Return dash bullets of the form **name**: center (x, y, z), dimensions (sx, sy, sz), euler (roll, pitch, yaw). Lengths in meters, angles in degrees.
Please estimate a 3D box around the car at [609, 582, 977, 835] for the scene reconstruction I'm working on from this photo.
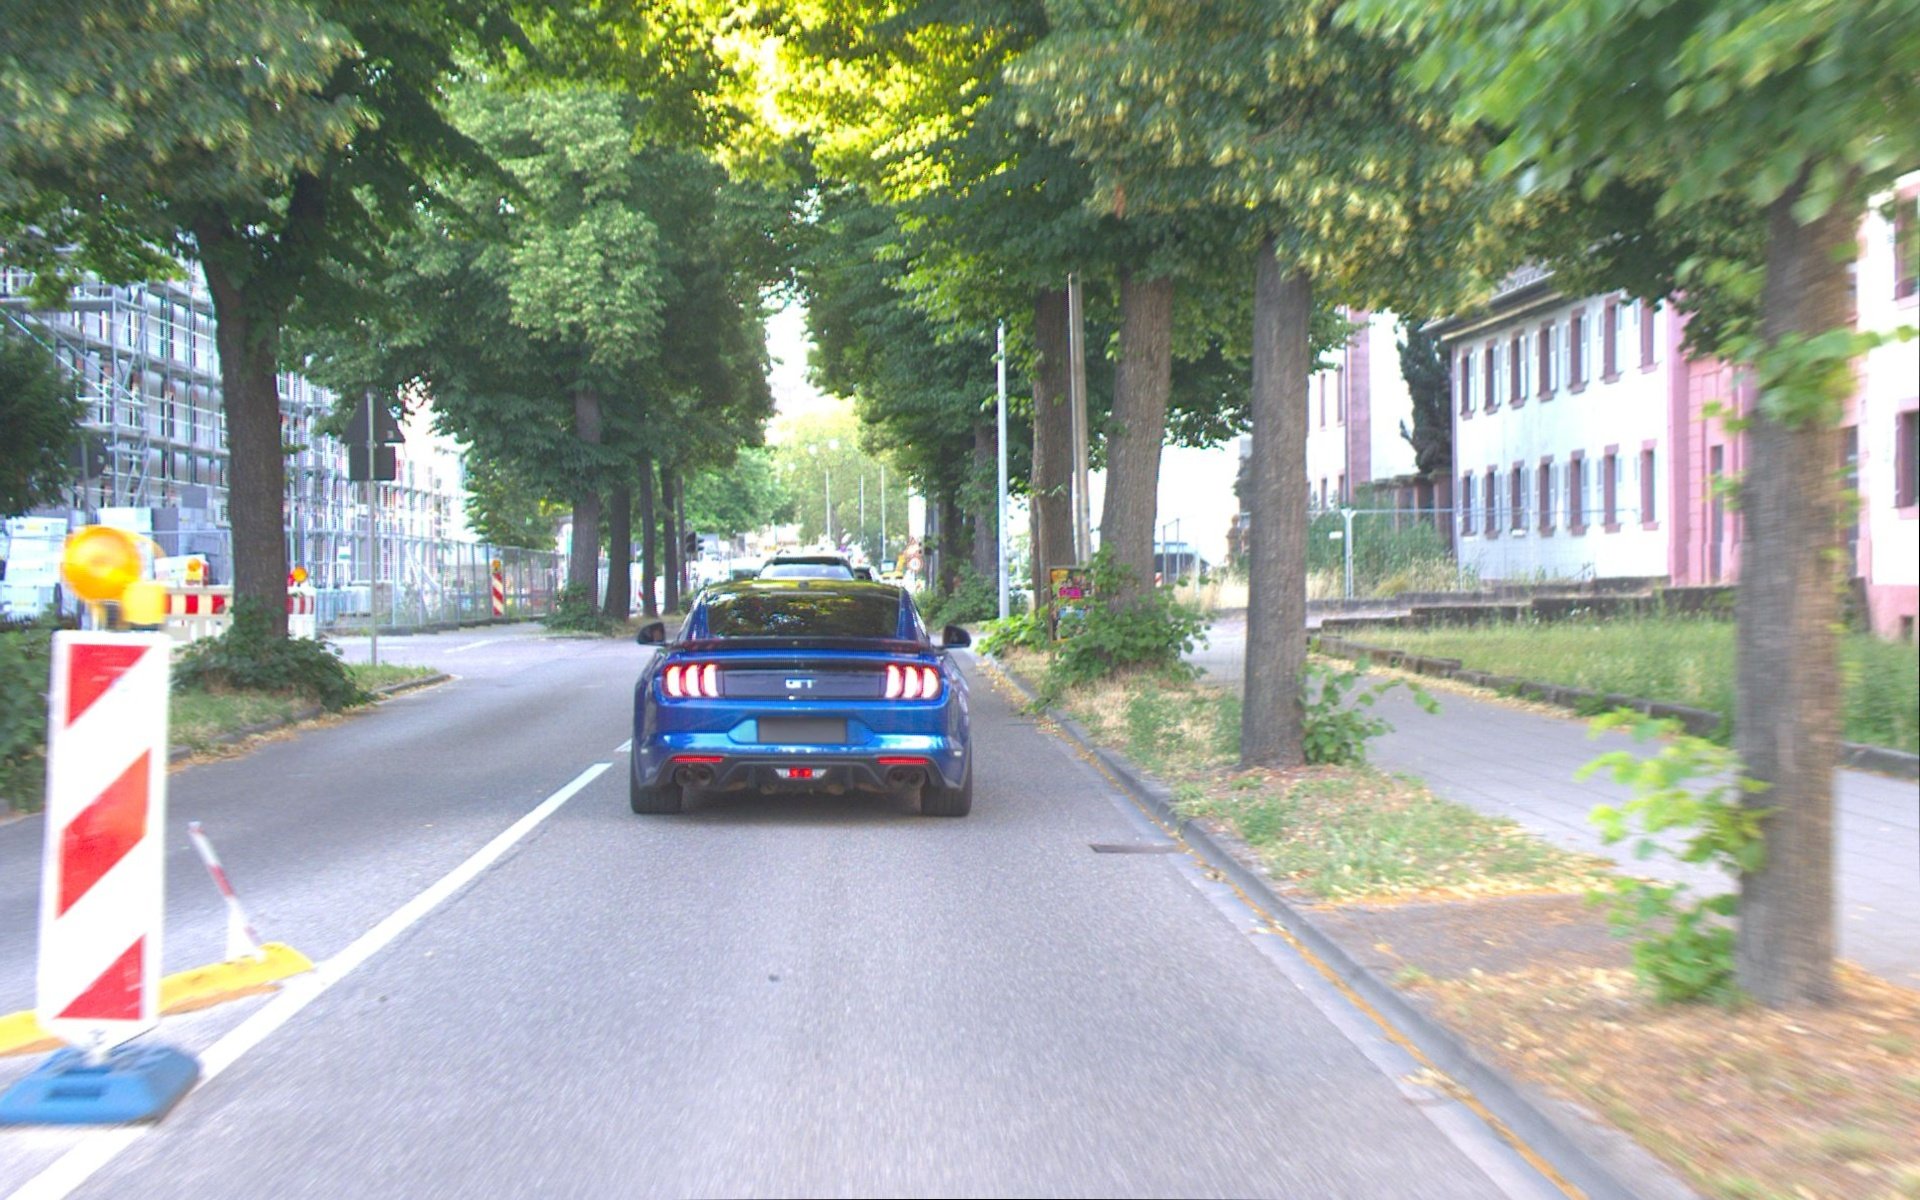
- **car**: center (-0.958, 0.578, 20.440), dimensions (1.947, 1.322, 4.000), euler (1, 0, -2)

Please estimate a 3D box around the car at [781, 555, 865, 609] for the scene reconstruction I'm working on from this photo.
- **car**: center (-3.462, -0.458, 87.678), dimensions (1.947, 1.322, 4.000), euler (1, 0, 0)

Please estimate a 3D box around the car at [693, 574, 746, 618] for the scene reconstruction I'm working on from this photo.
- **car**: center (-12.254, -0.212, 175.283), dimensions (2.336, 2.190, 5.309), euler (-1, 0, 0)

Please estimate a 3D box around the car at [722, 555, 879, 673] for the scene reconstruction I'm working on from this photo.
- **car**: center (-2.169, 0.181, 47.651), dimensions (1.947, 1.522, 4.000), euler (1, 0, 0)

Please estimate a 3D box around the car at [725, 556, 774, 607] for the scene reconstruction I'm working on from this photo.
- **car**: center (-11.411, -0.997, 186.554), dimensions (2.492, 2.688, 5.831), euler (-1, 0, -2)

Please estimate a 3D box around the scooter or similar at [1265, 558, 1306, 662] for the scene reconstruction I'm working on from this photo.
- **scooter or similar**: center (4.047, 0.123, 42.788), dimensions (0.239, 1.272, 1.267), euler (-1, 0, -7)
